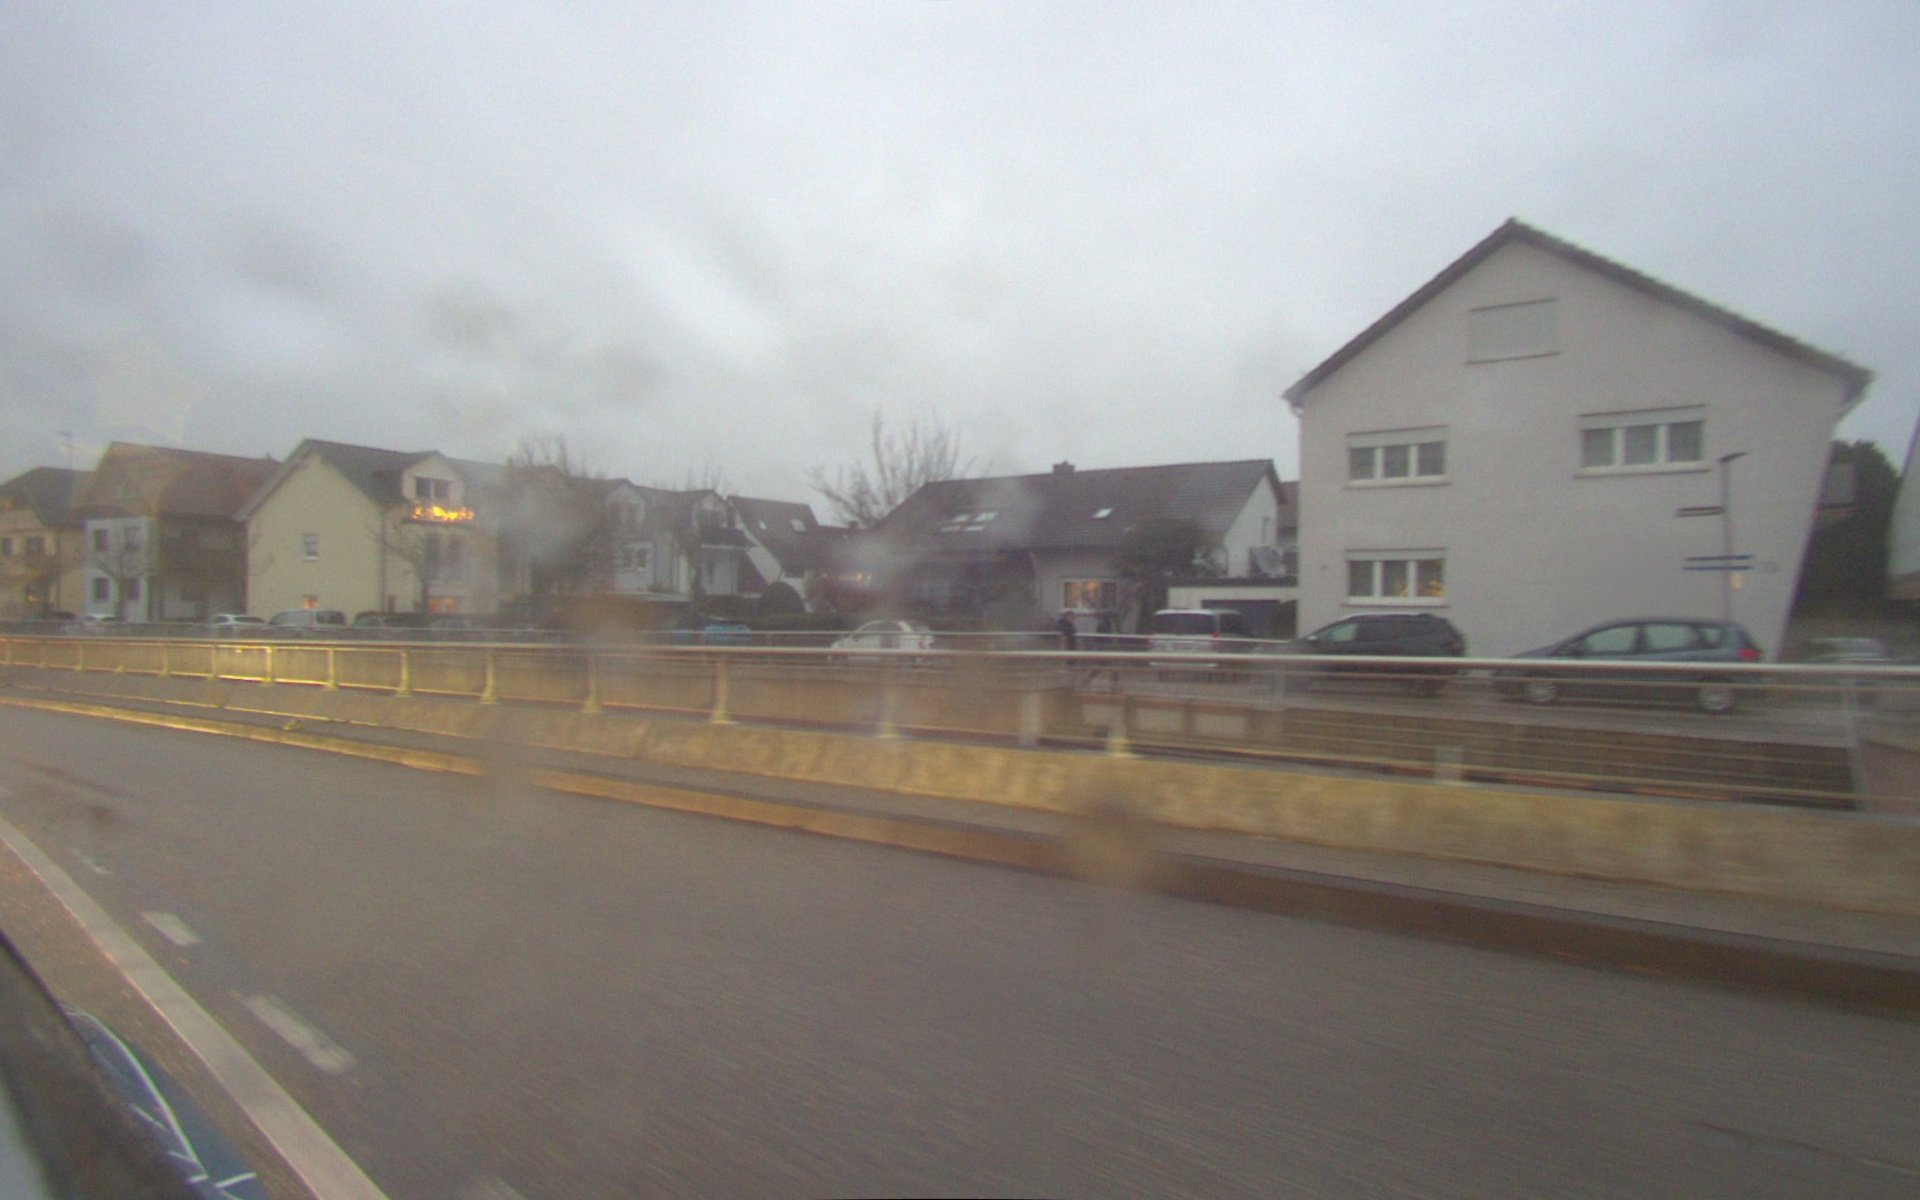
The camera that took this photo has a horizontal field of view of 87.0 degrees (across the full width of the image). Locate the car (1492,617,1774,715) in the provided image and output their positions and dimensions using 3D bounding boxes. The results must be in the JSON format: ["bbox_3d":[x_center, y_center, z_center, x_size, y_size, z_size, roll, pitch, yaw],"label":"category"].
[{"bbox_3d":[12.108,1.108,18.431,4.085,1.581,1.759,-1,0,35],"label":"car"}]

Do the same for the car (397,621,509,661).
[{"bbox_3d":[-19.552,1.549,39.012,4.238,1.480,1.783,-1,-1,29],"label":"car"}]

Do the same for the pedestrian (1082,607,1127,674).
[{"bbox_3d":[2.776,0.769,19.427,0.602,1.259,0.684,-1,-1,37],"label":"pedestrian"}]

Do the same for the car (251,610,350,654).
[{"bbox_3d":[-28.631,1.381,43.928,4.237,1.841,1.783,-1,-1,28],"label":"car"}]

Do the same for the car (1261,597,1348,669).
[{"bbox_3d":[10.074,1.010,29.450,1.468,1.952,3.662,-2,-5,34],"label":"car"}]

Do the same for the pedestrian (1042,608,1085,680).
[{"bbox_3d":[1.913,0.800,18.633,0.602,1.312,0.505,-1,-1,37],"label":"pedestrian"}]

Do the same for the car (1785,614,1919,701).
[{"bbox_3d":[19.530,1.259,22.277,1.713,1.695,3.954,1,-2,34],"label":"car"}]

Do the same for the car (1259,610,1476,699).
[{"bbox_3d":[8.435,1.061,21.033,3.947,1.673,1.685,-1,0,33],"label":"car"}]

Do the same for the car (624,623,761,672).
[{"bbox_3d":[-8.671,1.480,32.715,4.238,1.480,1.783,-1,-1,29],"label":"car"}]

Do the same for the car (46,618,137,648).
[{"bbox_3d":[-44.368,1.671,51.698,4.588,1.480,1.785,0,-1,24],"label":"car"}]

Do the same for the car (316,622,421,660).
[{"bbox_3d":[-24.277,1.639,41.519,4.238,1.480,1.783,-1,-1,29],"label":"car"}]

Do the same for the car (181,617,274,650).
[{"bbox_3d":[-33.667,1.552,46.505,3.993,1.480,1.662,-1,-3,24],"label":"car"}]

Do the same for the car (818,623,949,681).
[{"bbox_3d":[-2.154,1.402,28.277,3.491,1.520,1.463,-1,-1,32],"label":"car"}]
